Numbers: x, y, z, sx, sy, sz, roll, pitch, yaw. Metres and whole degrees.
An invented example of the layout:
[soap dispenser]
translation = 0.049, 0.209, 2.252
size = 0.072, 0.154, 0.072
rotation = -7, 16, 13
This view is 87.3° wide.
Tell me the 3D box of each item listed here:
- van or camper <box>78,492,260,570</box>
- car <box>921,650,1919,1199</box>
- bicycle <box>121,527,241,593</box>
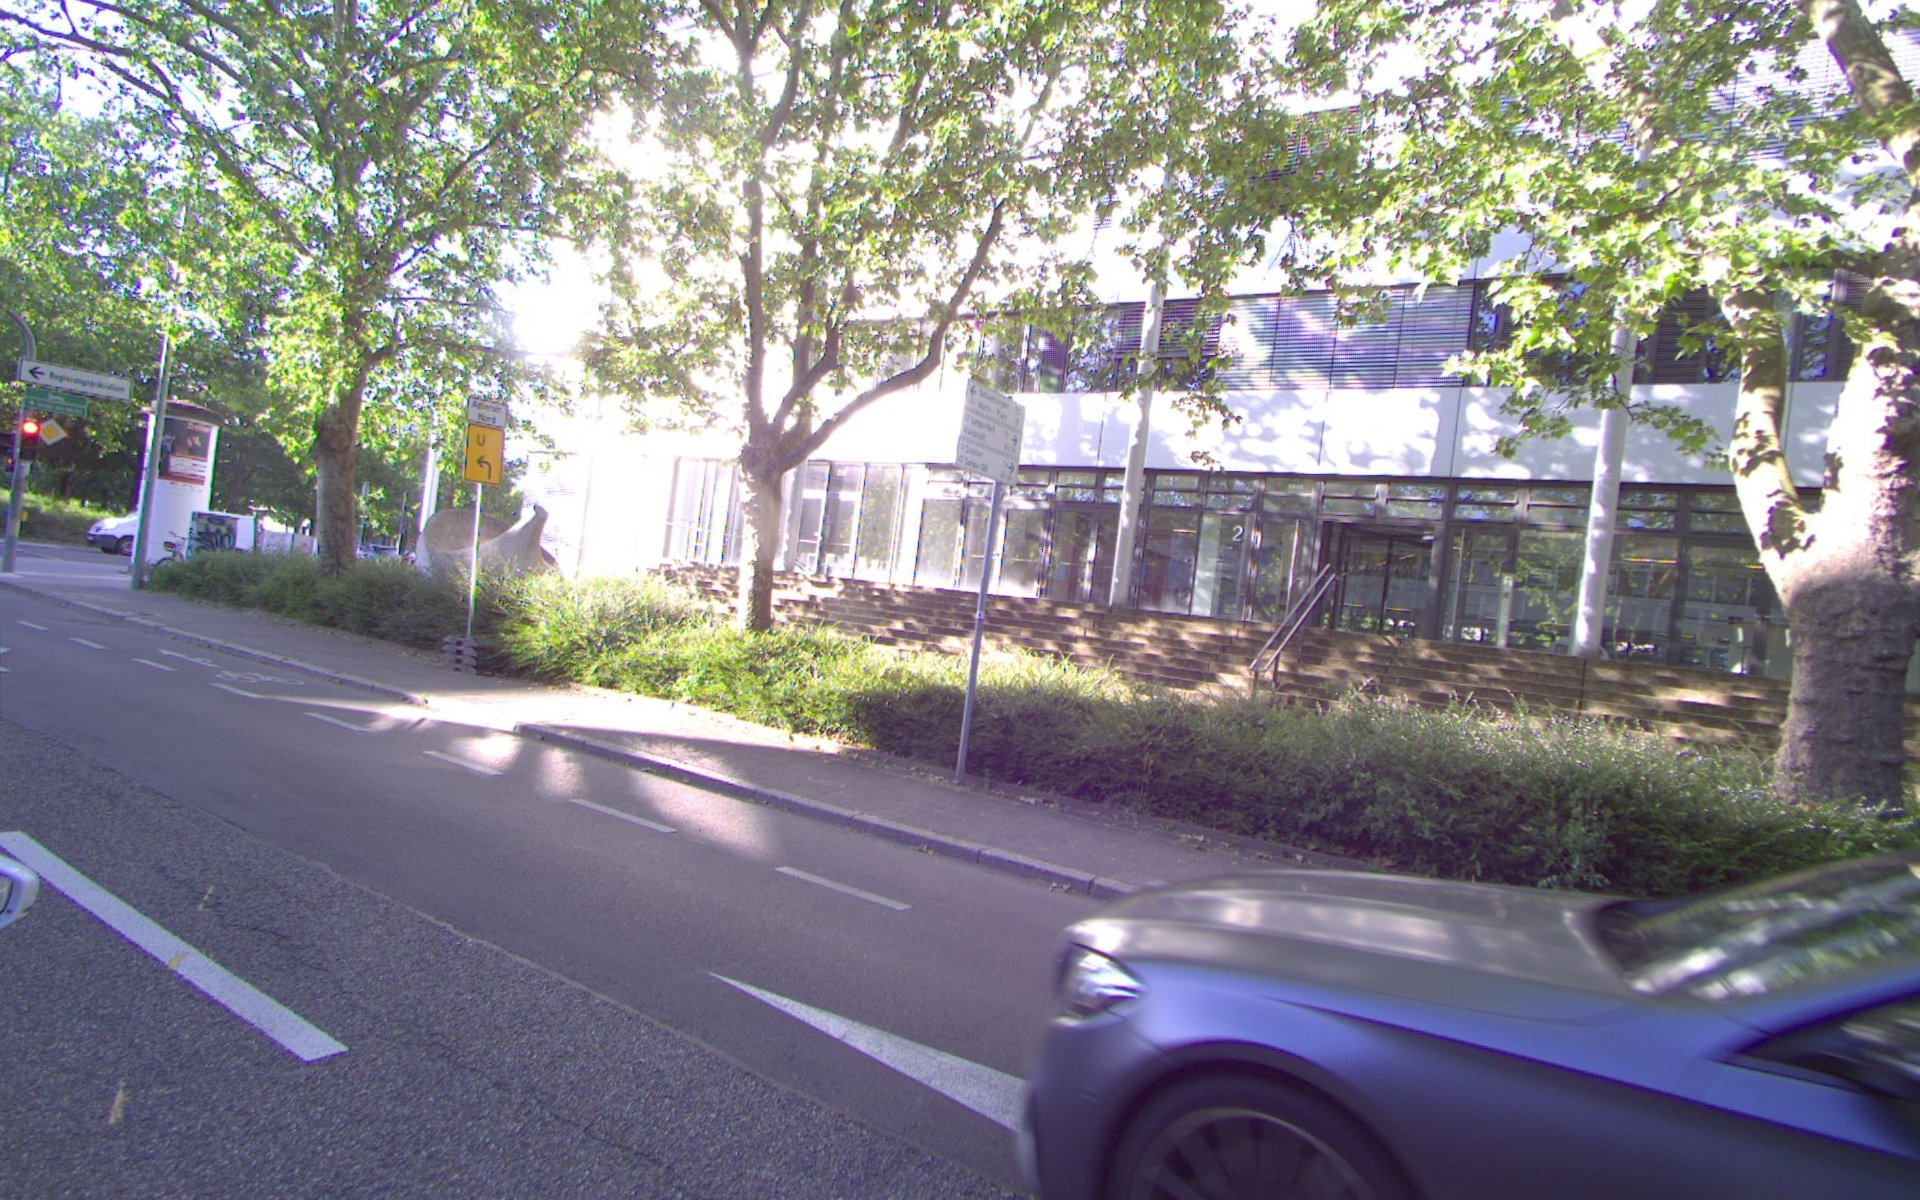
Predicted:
[van or camper]
translation = -28.029, -2.413, 35.791
size = 1.968, 1.964, 4.584
rotation = 7, -2, 34
[car]
translation = 2.396, 1.195, 1.998
size = 4.594, 1.480, 1.917
rotation = 6, -3, 34
[bicycle]
translation = -16.101, -0.809, 20.840
size = 0.502, 1.110, 1.806
rotation = 7, -1, 34
